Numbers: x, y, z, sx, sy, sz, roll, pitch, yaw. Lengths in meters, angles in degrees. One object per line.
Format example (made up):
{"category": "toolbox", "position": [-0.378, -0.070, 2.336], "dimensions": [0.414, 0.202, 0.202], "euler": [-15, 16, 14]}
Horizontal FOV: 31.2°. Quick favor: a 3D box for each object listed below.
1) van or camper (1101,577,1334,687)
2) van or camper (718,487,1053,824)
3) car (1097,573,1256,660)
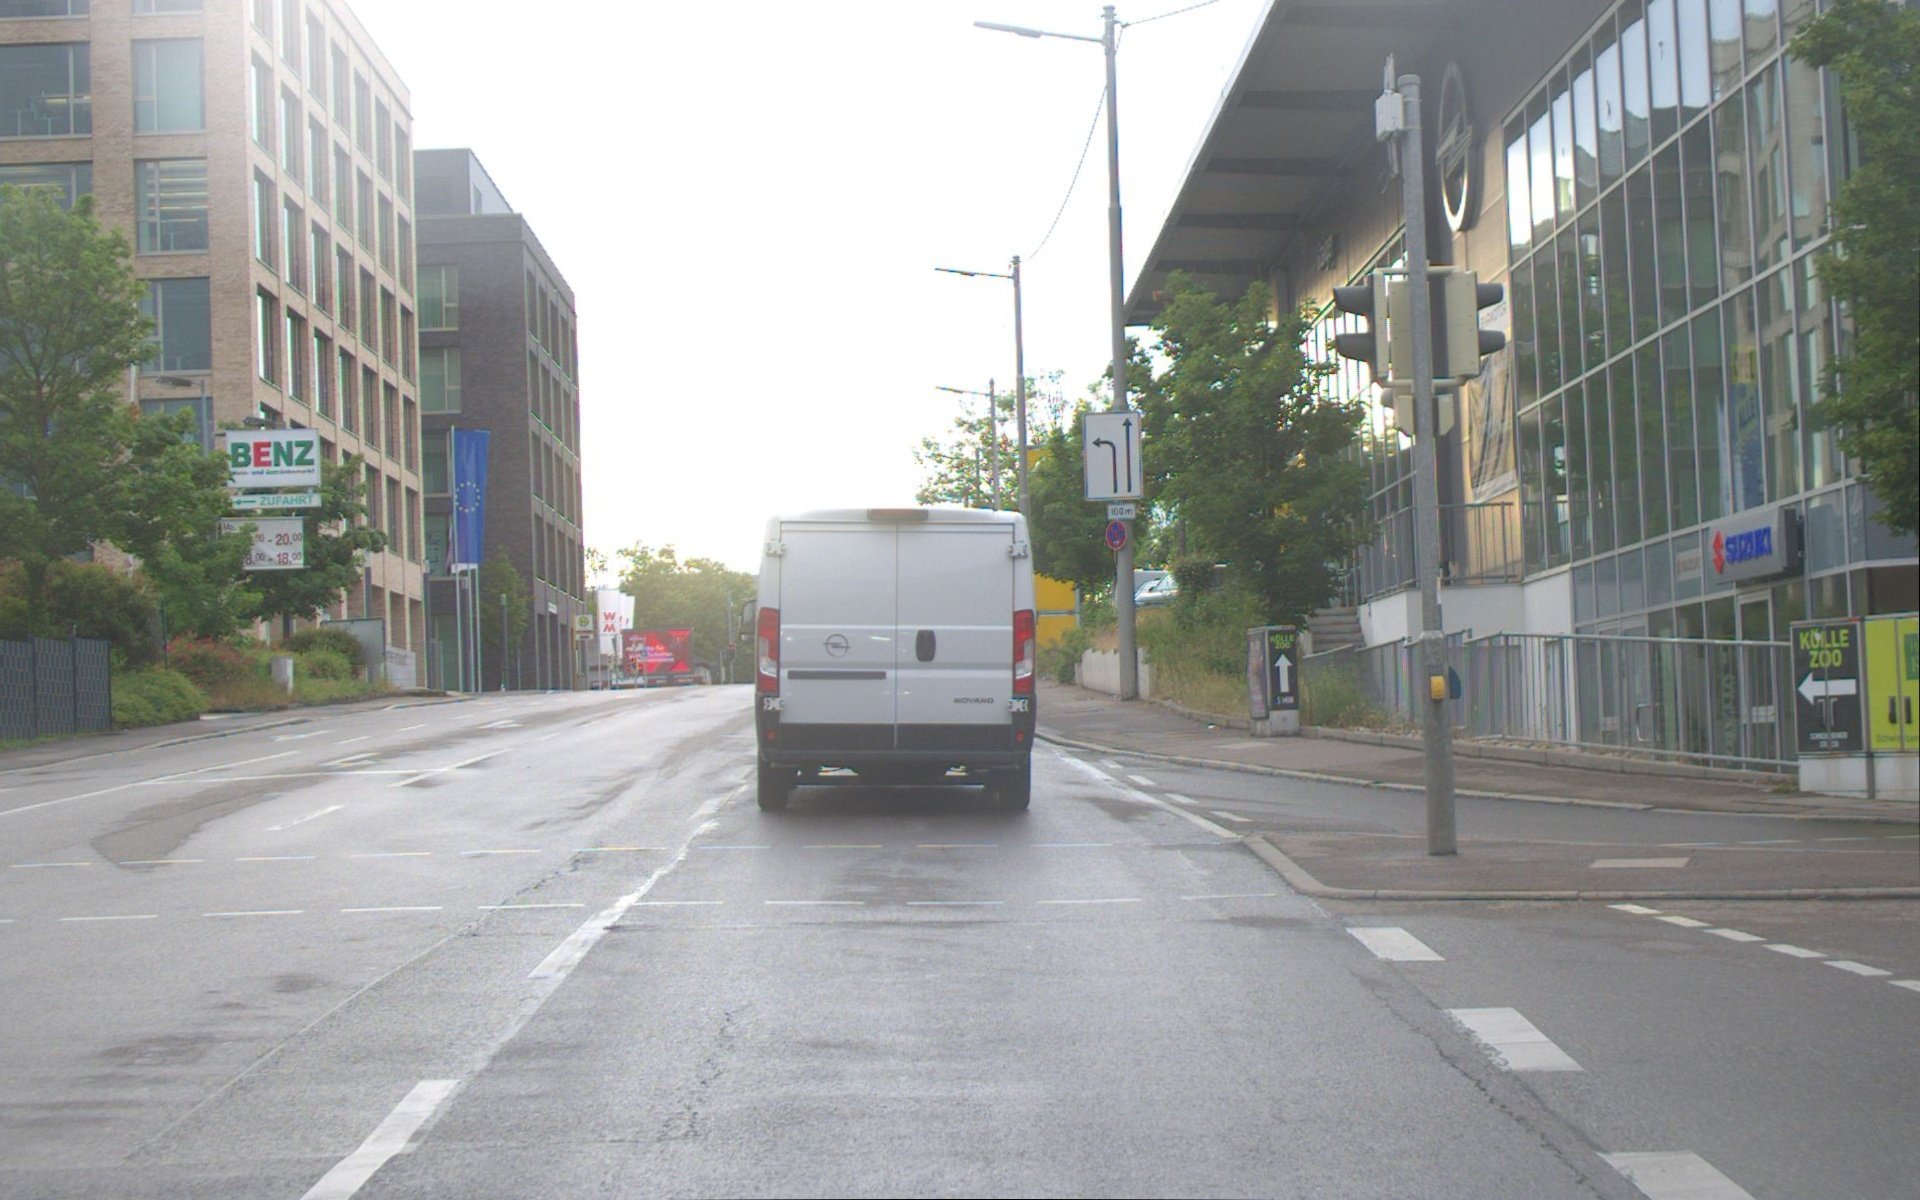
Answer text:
{"category": "van or camper", "position": [6.565, 0.825, 88.320], "dimensions": [5.736, 2.715, 2.352], "euler": [-1, -1, -1]}
{"category": "van or camper", "position": [-0.544, 0.438, 26.924], "dimensions": [2.340, 2.349, 5.199], "euler": [-1, -1, 0]}
{"category": "car", "position": [4.723, 0.385, 74.293], "dimensions": [1.996, 1.705, 4.572], "euler": [-4, -2, 22]}
